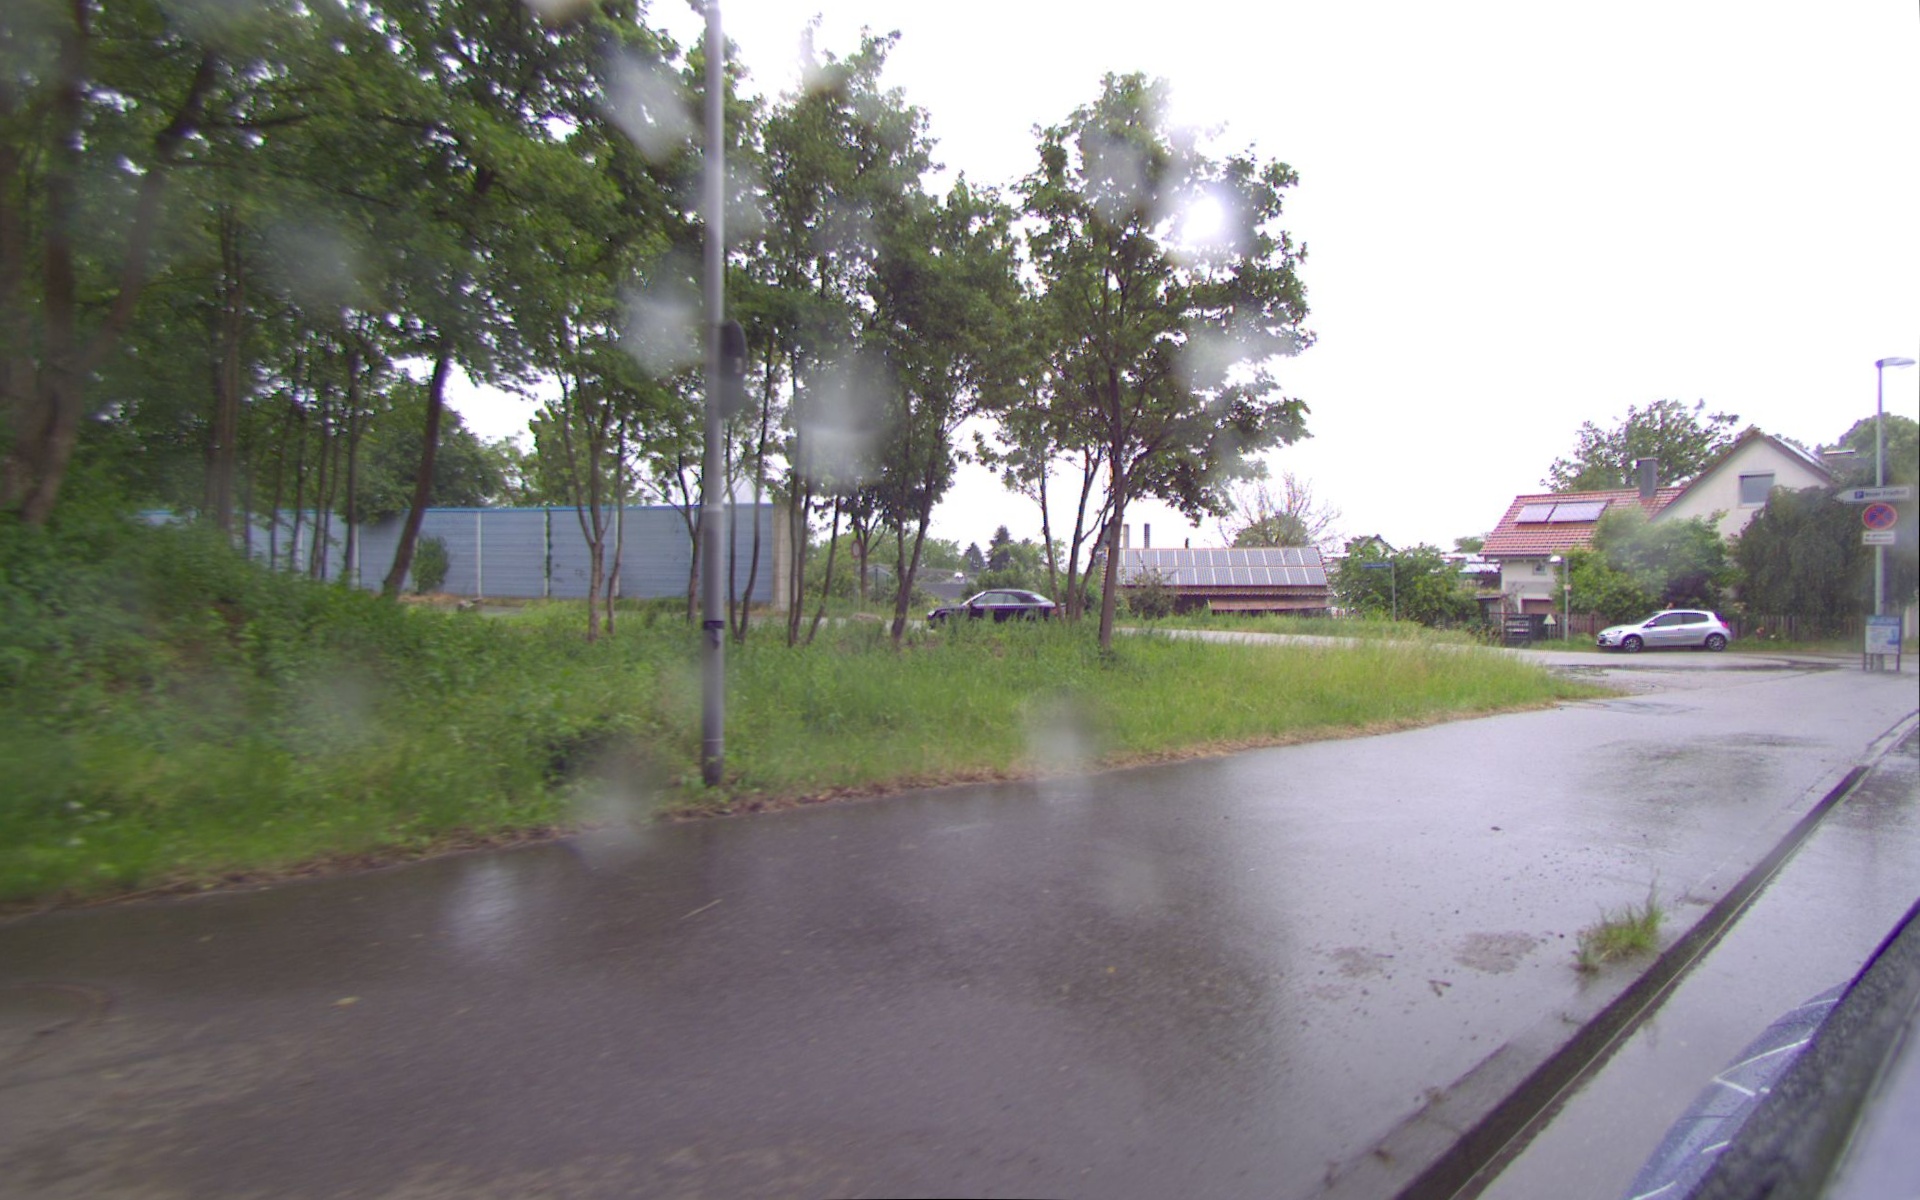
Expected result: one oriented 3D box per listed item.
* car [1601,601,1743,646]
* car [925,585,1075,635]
[{"bbox_3d":[25.584,0.830,36.510,3.806,1.551,1.709,-1,-1,19],"label":"car"},{"bbox_3d":[1.196,0.295,29.614,4.054,1.376,1.895,-1,-1,16],"label":"car"}]
